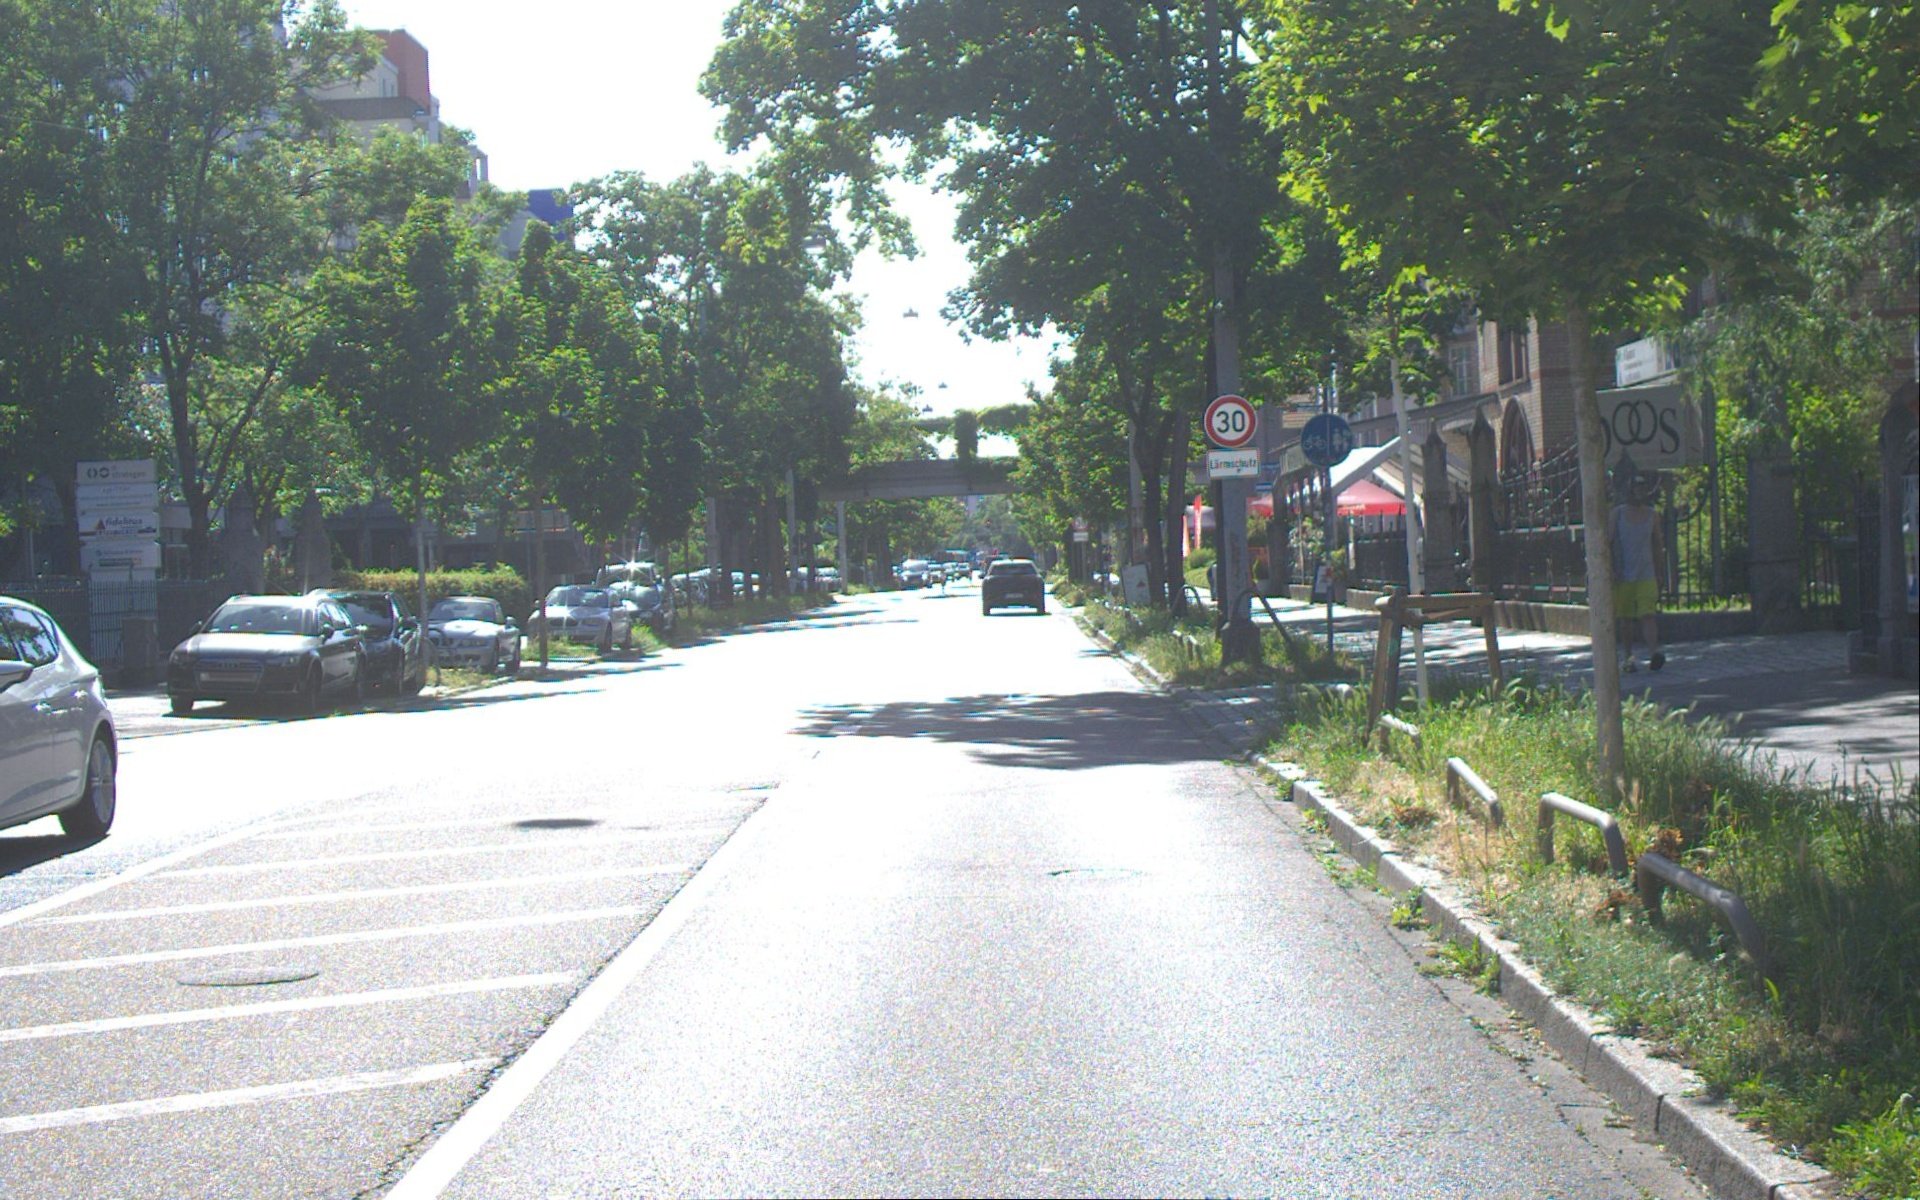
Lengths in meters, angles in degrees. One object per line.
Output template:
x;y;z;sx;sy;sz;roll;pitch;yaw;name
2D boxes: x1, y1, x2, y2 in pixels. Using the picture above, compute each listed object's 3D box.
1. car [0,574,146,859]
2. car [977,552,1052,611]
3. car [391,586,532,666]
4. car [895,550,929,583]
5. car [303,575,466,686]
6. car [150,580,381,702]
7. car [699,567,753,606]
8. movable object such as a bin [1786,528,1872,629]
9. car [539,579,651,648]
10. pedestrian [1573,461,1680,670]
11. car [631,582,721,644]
-5.817;0.615;18.292;1.918;1.414;4.225;-2;1;0;car
1.506;-0.529;97.034;1.984;1.595;4.141;-1;1;0;car
-8.354;0.417;57.909;1.678;1.251;4.015;-1;1;1;car
-2.877;-2.015;206.574;1.856;1.819;4.610;-3;1;0;car
-8.341;0.410;50.193;1.855;1.489;4.706;1;0;-4;car
-8.913;0.489;44.487;1.856;1.422;4.720;2;1;2;car
-9.609;-0.584;141.627;1.856;1.563;3.871;-1;1;1;car
8.683;-0.215;34.367;0.625;0.962;0.667;-4;0;0;movable object such as a bin
-7.777;0.267;73.493;1.688;1.378;4.190;-1;1;4;car
5.923;-0.314;30.518;0.748;1.781;0.810;-5;0;15;pedestrian
-6.985;0.298;84.770;1.712;1.454;4.072;-1;1;2;car
